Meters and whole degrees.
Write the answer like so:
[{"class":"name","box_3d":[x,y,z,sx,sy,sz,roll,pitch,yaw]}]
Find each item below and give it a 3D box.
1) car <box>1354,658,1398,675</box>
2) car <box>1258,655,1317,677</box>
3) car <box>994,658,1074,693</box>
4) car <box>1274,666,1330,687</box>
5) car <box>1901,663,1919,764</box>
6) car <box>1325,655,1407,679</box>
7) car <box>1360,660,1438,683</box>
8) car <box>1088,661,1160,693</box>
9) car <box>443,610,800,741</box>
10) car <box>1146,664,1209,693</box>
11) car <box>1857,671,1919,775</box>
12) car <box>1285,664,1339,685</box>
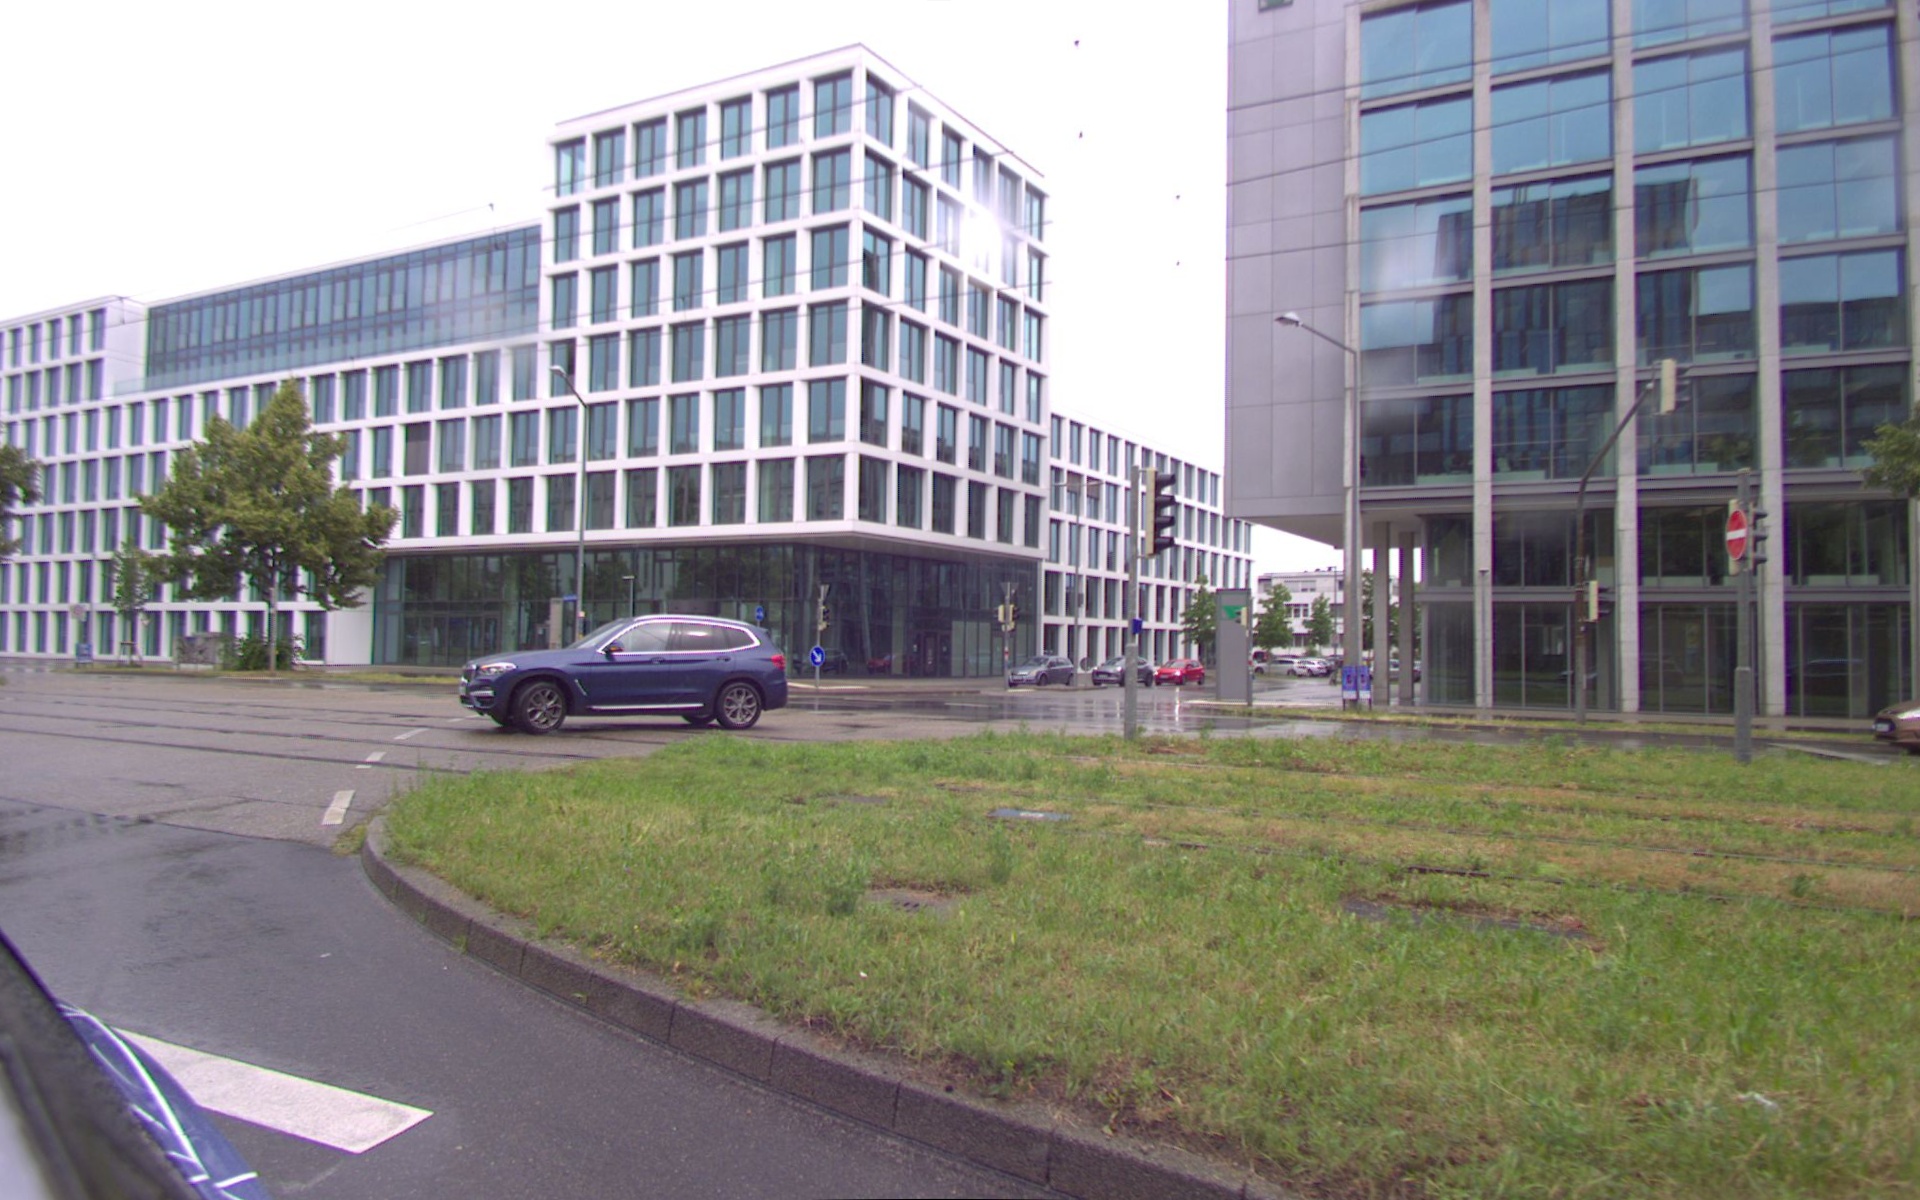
[{"class":"car","box_3d":[44.849,7.178,109.162,3.988,1.675,1.977,-3,-4,33]},{"class":"car","box_3d":[26.058,5.257,80.537,3.988,1.675,1.977,-3,-4,33]},{"class":"car","box_3d":[3.369,3.356,45.377,1.882,1.447,4.049,-3,-4,32]},{"class":"car","box_3d":[28.313,6.334,83.906,3.988,1.675,1.977,-3,-4,33]},{"class":"car","box_3d":[16.827,1.691,14.482,4.436,1.571,1.941,-2,-3,24]},{"class":"car","box_3d":[26.999,4.481,67.350,4.653,1.519,1.975,-4,-4,38]},{"class":"car","box_3d":[30.680,5.006,70.819,4.653,1.519,1.975,-4,-4,38]},{"class":"car","box_3d":[8.205,3.796,50.349,1.884,1.447,4.043,-4,-4,37]},{"class":"car","box_3d":[-4.927,1.101,14.946,4.635,1.673,1.935,3,-4,-32]},{"class":"car","box_3d":[12.111,4.339,56.292,1.884,1.447,4.043,-4,-4,37]},{"class":"car","box_3d":[18.432,2.053,17.203,4.244,1.707,1.942,-3,-4,23]},{"class":"car","box_3d":[29.948,6.317,86.165,3.988,1.675,1.977,-3,-4,33]}]
